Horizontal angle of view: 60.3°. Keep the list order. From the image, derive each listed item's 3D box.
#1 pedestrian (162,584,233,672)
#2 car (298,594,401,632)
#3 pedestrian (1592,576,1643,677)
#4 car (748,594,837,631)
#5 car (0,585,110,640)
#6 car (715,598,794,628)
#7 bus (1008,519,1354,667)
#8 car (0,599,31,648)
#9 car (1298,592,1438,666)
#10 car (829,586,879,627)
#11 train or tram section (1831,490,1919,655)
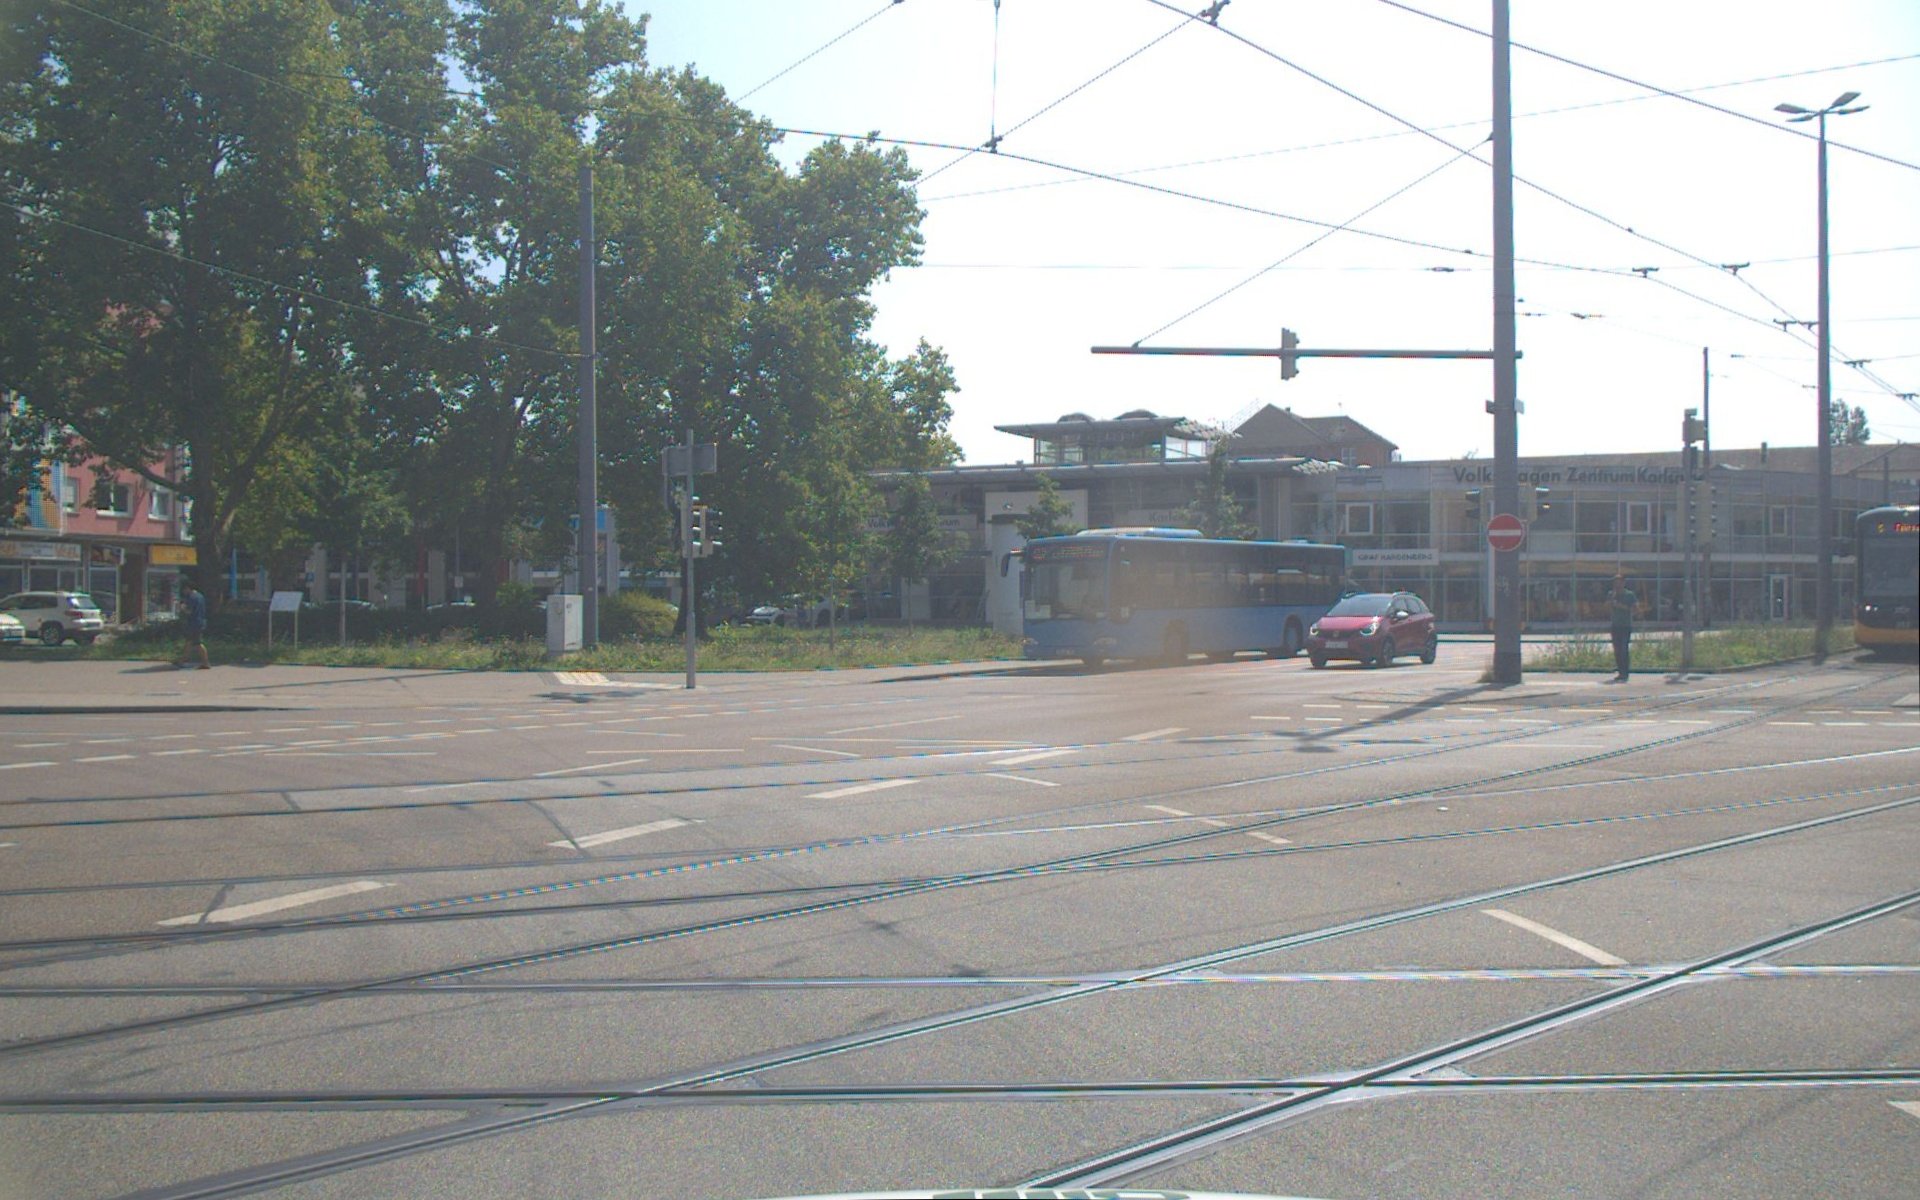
[{"bbox_3d":[-14.490,0.521,31.438,0.927,1.637,0.793,-1,0,2],"label":"pedestrian"},{"bbox_3d":[-27.465,0.583,74.471,3.976,1.695,1.791,0,0,2],"label":"car"},{"bbox_3d":[11.343,0.441,28.555,0.785,1.717,0.719,0,0,20],"label":"pedestrian"},{"bbox_3d":[-8.446,0.607,83.588,4.211,1.784,1.695,0,0,-36],"label":"car"},{"bbox_3d":[-29.352,0.404,52.350,3.976,1.695,1.791,0,0,2],"label":"car"},{"bbox_3d":[-10.800,0.658,87.059,1.959,1.534,3.986,0,0,35],"label":"car"},{"bbox_3d":[5.808,-0.164,40.490,2.682,3.118,12.025,0,0,38],"label":"bus"},{"bbox_3d":[-29.859,0.701,49.748,3.024,1.454,1.404,0,0,2],"label":"car"},{"bbox_3d":[8.793,0.581,35.442,1.598,1.497,3.756,0,0,37],"label":"car"},{"bbox_3d":[-5.656,0.324,89.010,2.279,2.049,6.808,2,0,-1],"label":"car"},{"bbox_3d":[24.645,-0.529,41.201,2.548,3.622,12.148,2,0,41],"label":"train or tram section"}]
